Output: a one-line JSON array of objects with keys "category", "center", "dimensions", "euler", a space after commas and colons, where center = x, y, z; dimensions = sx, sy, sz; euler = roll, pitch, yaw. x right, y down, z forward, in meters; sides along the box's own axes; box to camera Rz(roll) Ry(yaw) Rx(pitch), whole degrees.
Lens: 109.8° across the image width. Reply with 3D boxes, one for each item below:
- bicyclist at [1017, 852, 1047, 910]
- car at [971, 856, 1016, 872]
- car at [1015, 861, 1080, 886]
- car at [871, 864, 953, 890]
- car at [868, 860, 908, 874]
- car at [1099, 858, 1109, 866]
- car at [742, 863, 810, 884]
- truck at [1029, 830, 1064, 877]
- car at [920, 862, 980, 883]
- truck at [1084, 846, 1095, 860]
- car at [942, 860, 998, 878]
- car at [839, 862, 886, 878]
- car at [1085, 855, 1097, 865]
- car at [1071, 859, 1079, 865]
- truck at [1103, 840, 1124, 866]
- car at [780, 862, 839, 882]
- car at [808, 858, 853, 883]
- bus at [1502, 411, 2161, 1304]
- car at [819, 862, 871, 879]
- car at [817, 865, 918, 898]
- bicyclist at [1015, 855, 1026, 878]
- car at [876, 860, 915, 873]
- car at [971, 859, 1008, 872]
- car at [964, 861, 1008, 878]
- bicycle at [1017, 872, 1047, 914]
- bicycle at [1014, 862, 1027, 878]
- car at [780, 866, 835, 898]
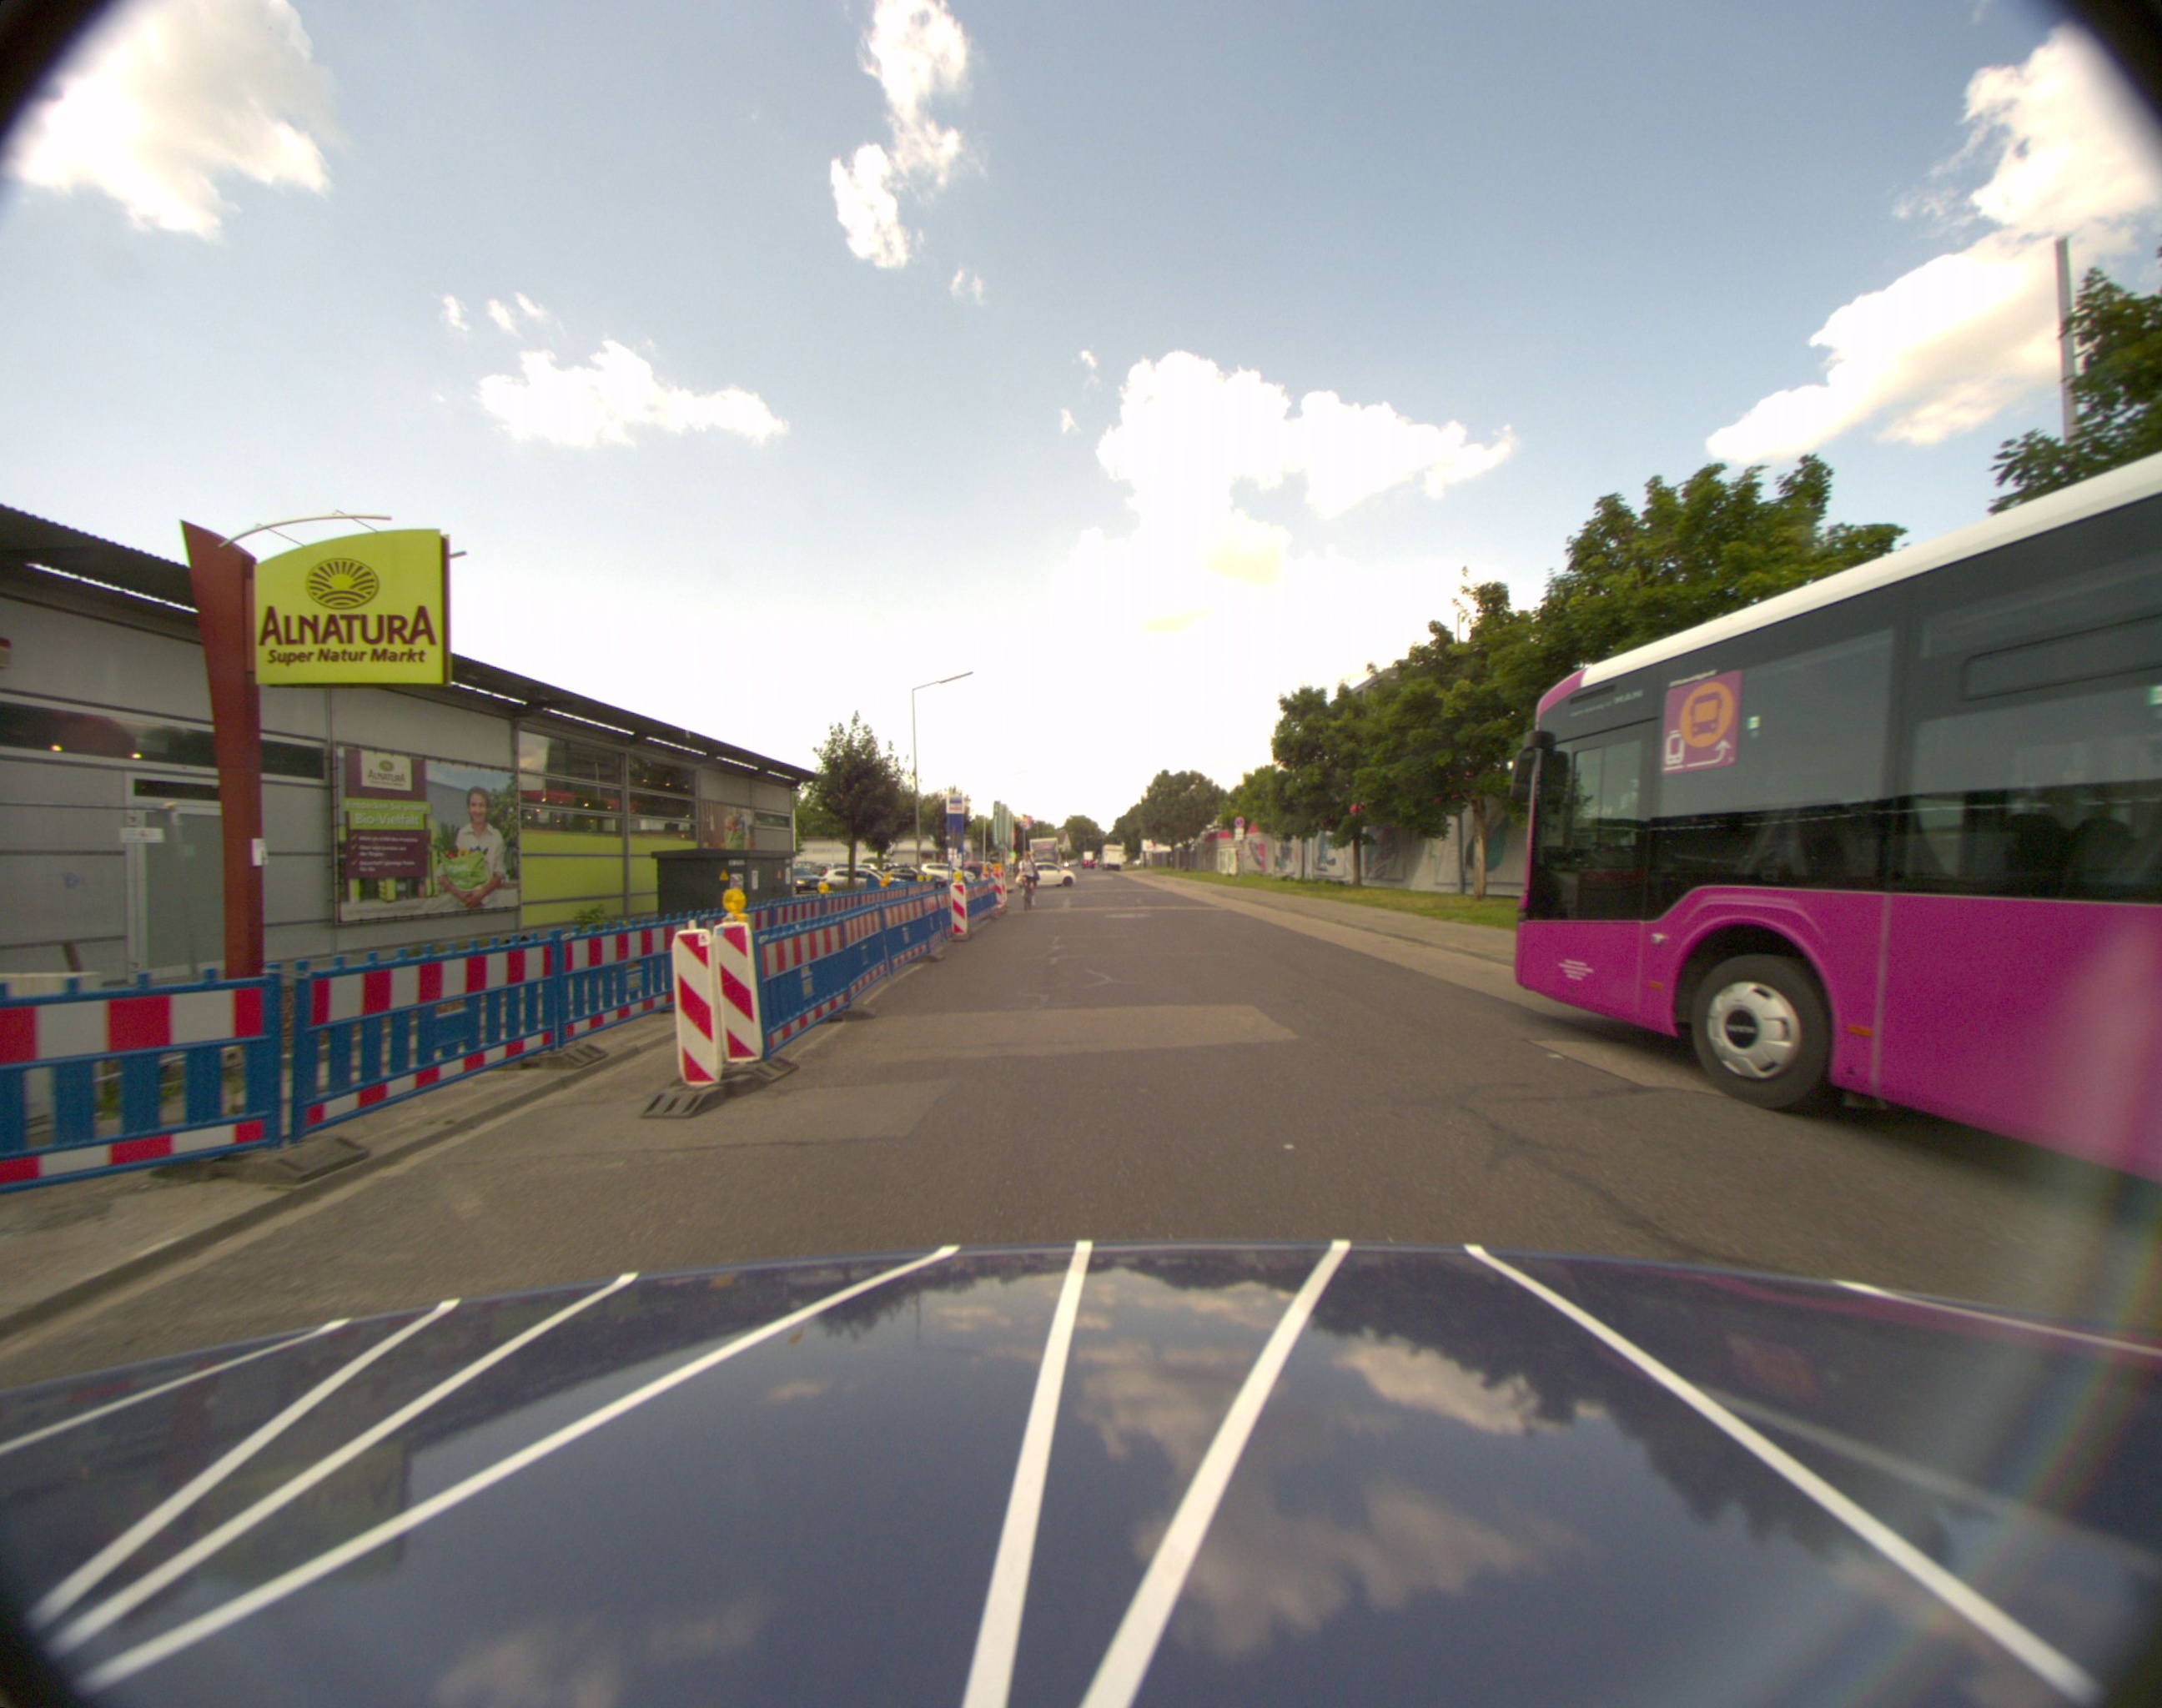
[{"category": "bicyclist", "center": [-1.564, 0.833, 24.289], "dimensions": [0.808, 1.782, 1.207], "euler": [-3, 1, -1]}, {"category": "car", "center": [-9.927, 1.155, 86.261], "dimensions": [4.906, 1.777, 1.902], "euler": [0, 0, -1]}, {"category": "car", "center": [-2.027, 1.174, 45.901], "dimensions": [3.616, 1.461, 1.685], "euler": [0, 0, -22]}, {"category": "car", "center": [-9.422, 1.271, 42.531], "dimensions": [4.190, 1.422, 1.806], "euler": [0, 0, 1]}, {"category": "car", "center": [-20.502, 1.393, 80.801], "dimensions": [3.946, 1.475, 1.724], "euler": [0, 0, -3]}, {"category": "car", "center": [4.599, 1.566, 152.531], "dimensions": [1.983, 1.565, 4.000], "euler": [-1, 0, -1]}, {"category": "car", "center": [-21.431, 1.374, 53.500], "dimensions": [4.070, 1.475, 1.724], "euler": [0, 0, -3]}, {"category": "truck", "center": [-3.225, -0.038, 73.610], "dimensions": [2.785, 4.092, 8.278], "euler": [-4, 0, 0]}, {"category": "car", "center": [-9.179, 1.302, 53.396], "dimensions": [3.963, 1.402, 1.796], "euler": [1, 0, -3]}, {"category": "truck", "center": [2.527, -0.410, 232.926], "dimensions": [2.979, 4.131, 9.666], "euler": [-1, 0, -1]}, {"category": "car", "center": [-8.894, 1.215, 61.240], "dimensions": [4.319, 1.435, 1.846], "euler": [0, 0, -2]}, {"category": "car", "center": [-20.399, 1.445, 71.082], "dimensions": [3.946, 1.475, 1.724], "euler": [0, 0, -3]}, {"category": "car", "center": [1.688, 1.061, 130.034], "dimensions": [1.879, 1.610, 4.293], "euler": [3, 0, 0]}, {"category": "car", "center": [-1.464, 2.045, 195.197], "dimensions": [1.983, 1.467, 4.000], "euler": [-1, 0, -1]}, {"category": "truck", "center": [4.811, -0.178, 113.021], "dimensions": [2.755, 3.701, 7.170], "euler": [1, 1, -1]}, {"category": "car", "center": [-20.970, 1.368, 58.770], "dimensions": [4.006, 1.475, 1.724], "euler": [0, 0, -3]}, {"category": "car", "center": [-15.726, 1.008, 47.908], "dimensions": [1.724, 1.510, 3.752], "euler": [-1, 0, -3]}, {"category": "bus", "center": [5.441, 0.040, 0.700], "dimensions": [2.670, 3.403, 13.218], "euler": [3, 0, 0]}, {"category": "car", "center": [-20.401, 1.410, 65.906], "dimensions": [3.993, 1.475, 1.740], "euler": [0, 0, -3]}, {"category": "car", "center": [-9.732, 1.242, 34.873], "dimensions": [4.113, 1.454, 1.990], "euler": [0, 0, -1]}, {"category": "bicyclist", "center": [-5.021, 1.021, 63.065], "dimensions": [0.796, 1.899, 0.829], "euler": [3, 1, 2]}, {"category": "car", "center": [-20.239, 1.375, 83.050], "dimensions": [3.946, 1.475, 1.724], "euler": [0, 0, -3]}, {"category": "car", "center": [-10.066, 1.262, 83.750], "dimensions": [3.821, 1.490, 1.654], "euler": [0, 0, 1]}, {"category": "car", "center": [-8.601, 1.386, 68.697], "dimensions": [3.895, 1.513, 1.748], "euler": [0, 0, -6]}, {"category": "bicycle", "center": [-1.544, 1.204, 24.289], "dimensions": [0.800, 1.173, 2.626], "euler": [-2, 0, -1]}, {"category": "bicycle", "center": [-5.039, 1.316, 63.086], "dimensions": [0.794, 1.287, 1.882], "euler": [3, 1, 2]}, {"category": "car", "center": [-14.275, 1.413, 39.474], "dimensions": [1.689, 1.403, 4.376], "euler": [-2, 2, -33]}]
